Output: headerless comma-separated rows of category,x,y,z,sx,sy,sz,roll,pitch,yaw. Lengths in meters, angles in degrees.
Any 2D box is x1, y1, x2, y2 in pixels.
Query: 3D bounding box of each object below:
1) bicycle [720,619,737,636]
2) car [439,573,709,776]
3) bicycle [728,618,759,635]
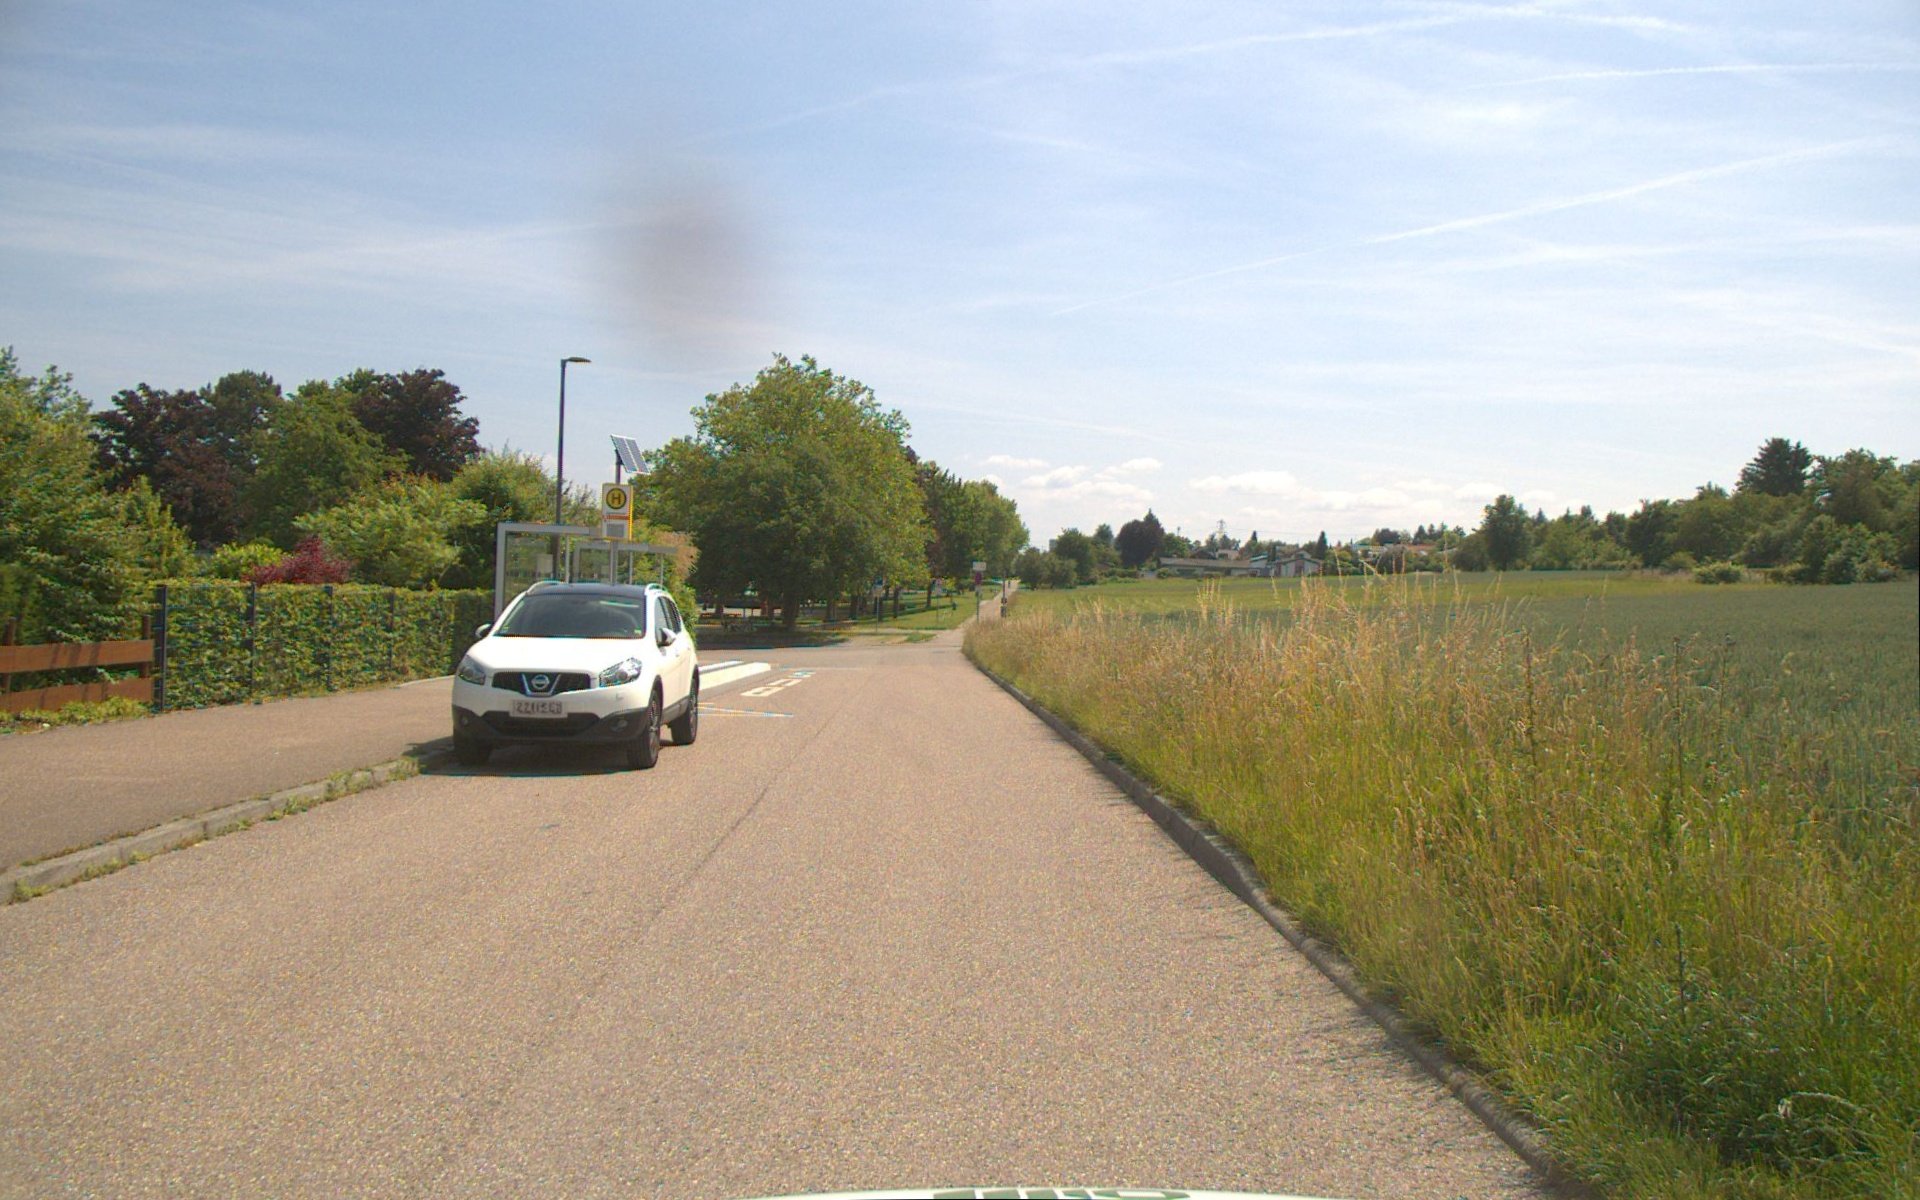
bicycle,-14.995,1.792,107.108,0.582,1.057,1.894,0,0,9
car,-3.536,0.643,15.935,1.699,1.662,4.350,1,-1,-2
bicycle,-14.305,1.743,109.242,2.022,1.057,0.571,0,0,-7
